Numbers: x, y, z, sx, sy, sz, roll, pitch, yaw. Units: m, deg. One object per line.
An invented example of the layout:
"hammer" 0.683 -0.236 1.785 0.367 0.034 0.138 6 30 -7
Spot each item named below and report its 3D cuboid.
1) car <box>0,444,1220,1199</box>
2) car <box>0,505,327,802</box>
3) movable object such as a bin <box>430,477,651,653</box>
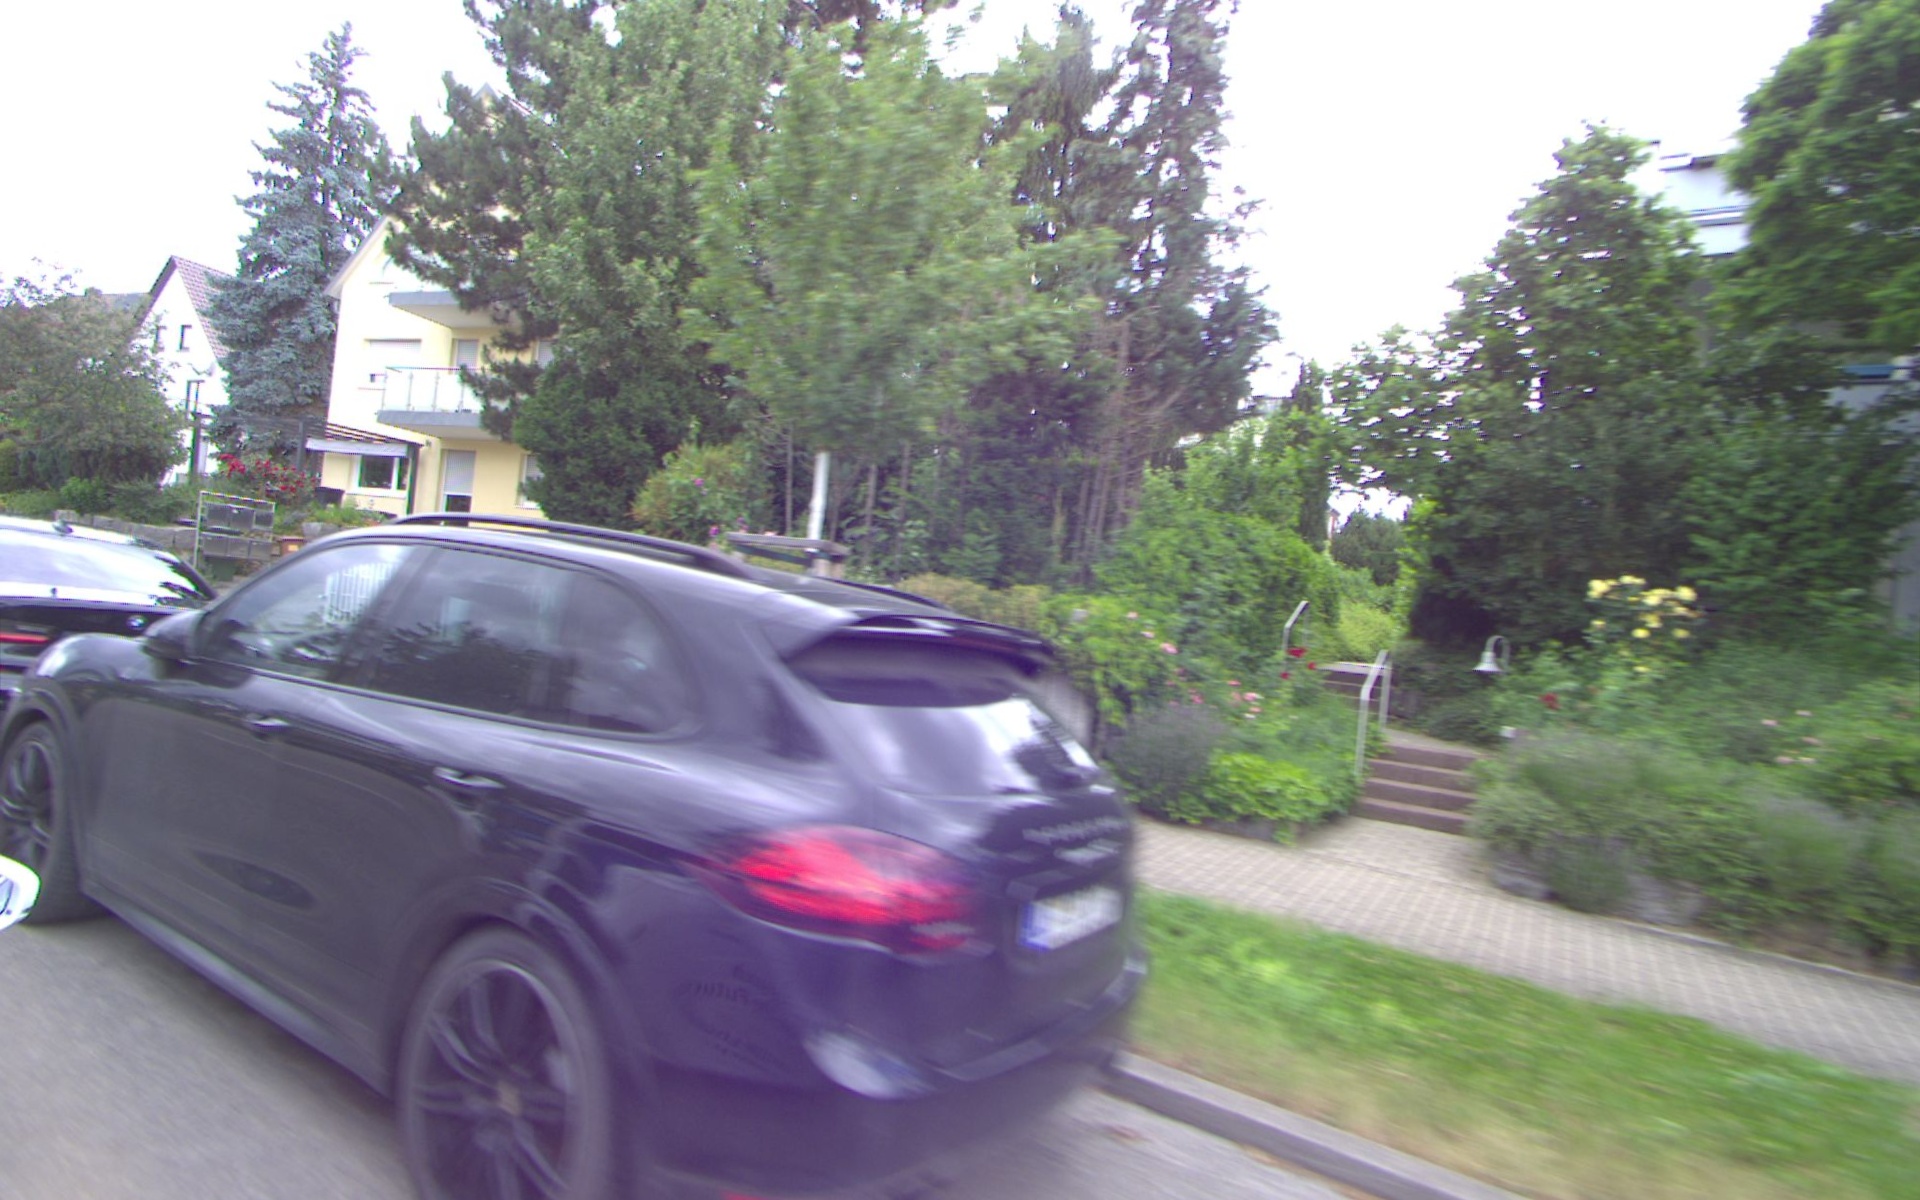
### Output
"car" -1.625 0.546 3.632 4.474 1.731 1.833 7 -2 32
"car" -6.400 0.109 6.608 4.473 1.473 1.834 7 -2 31
"movable object such as a bin" -5.706 -0.423 13.886 1.320 2.037 2.318 7 -2 26
